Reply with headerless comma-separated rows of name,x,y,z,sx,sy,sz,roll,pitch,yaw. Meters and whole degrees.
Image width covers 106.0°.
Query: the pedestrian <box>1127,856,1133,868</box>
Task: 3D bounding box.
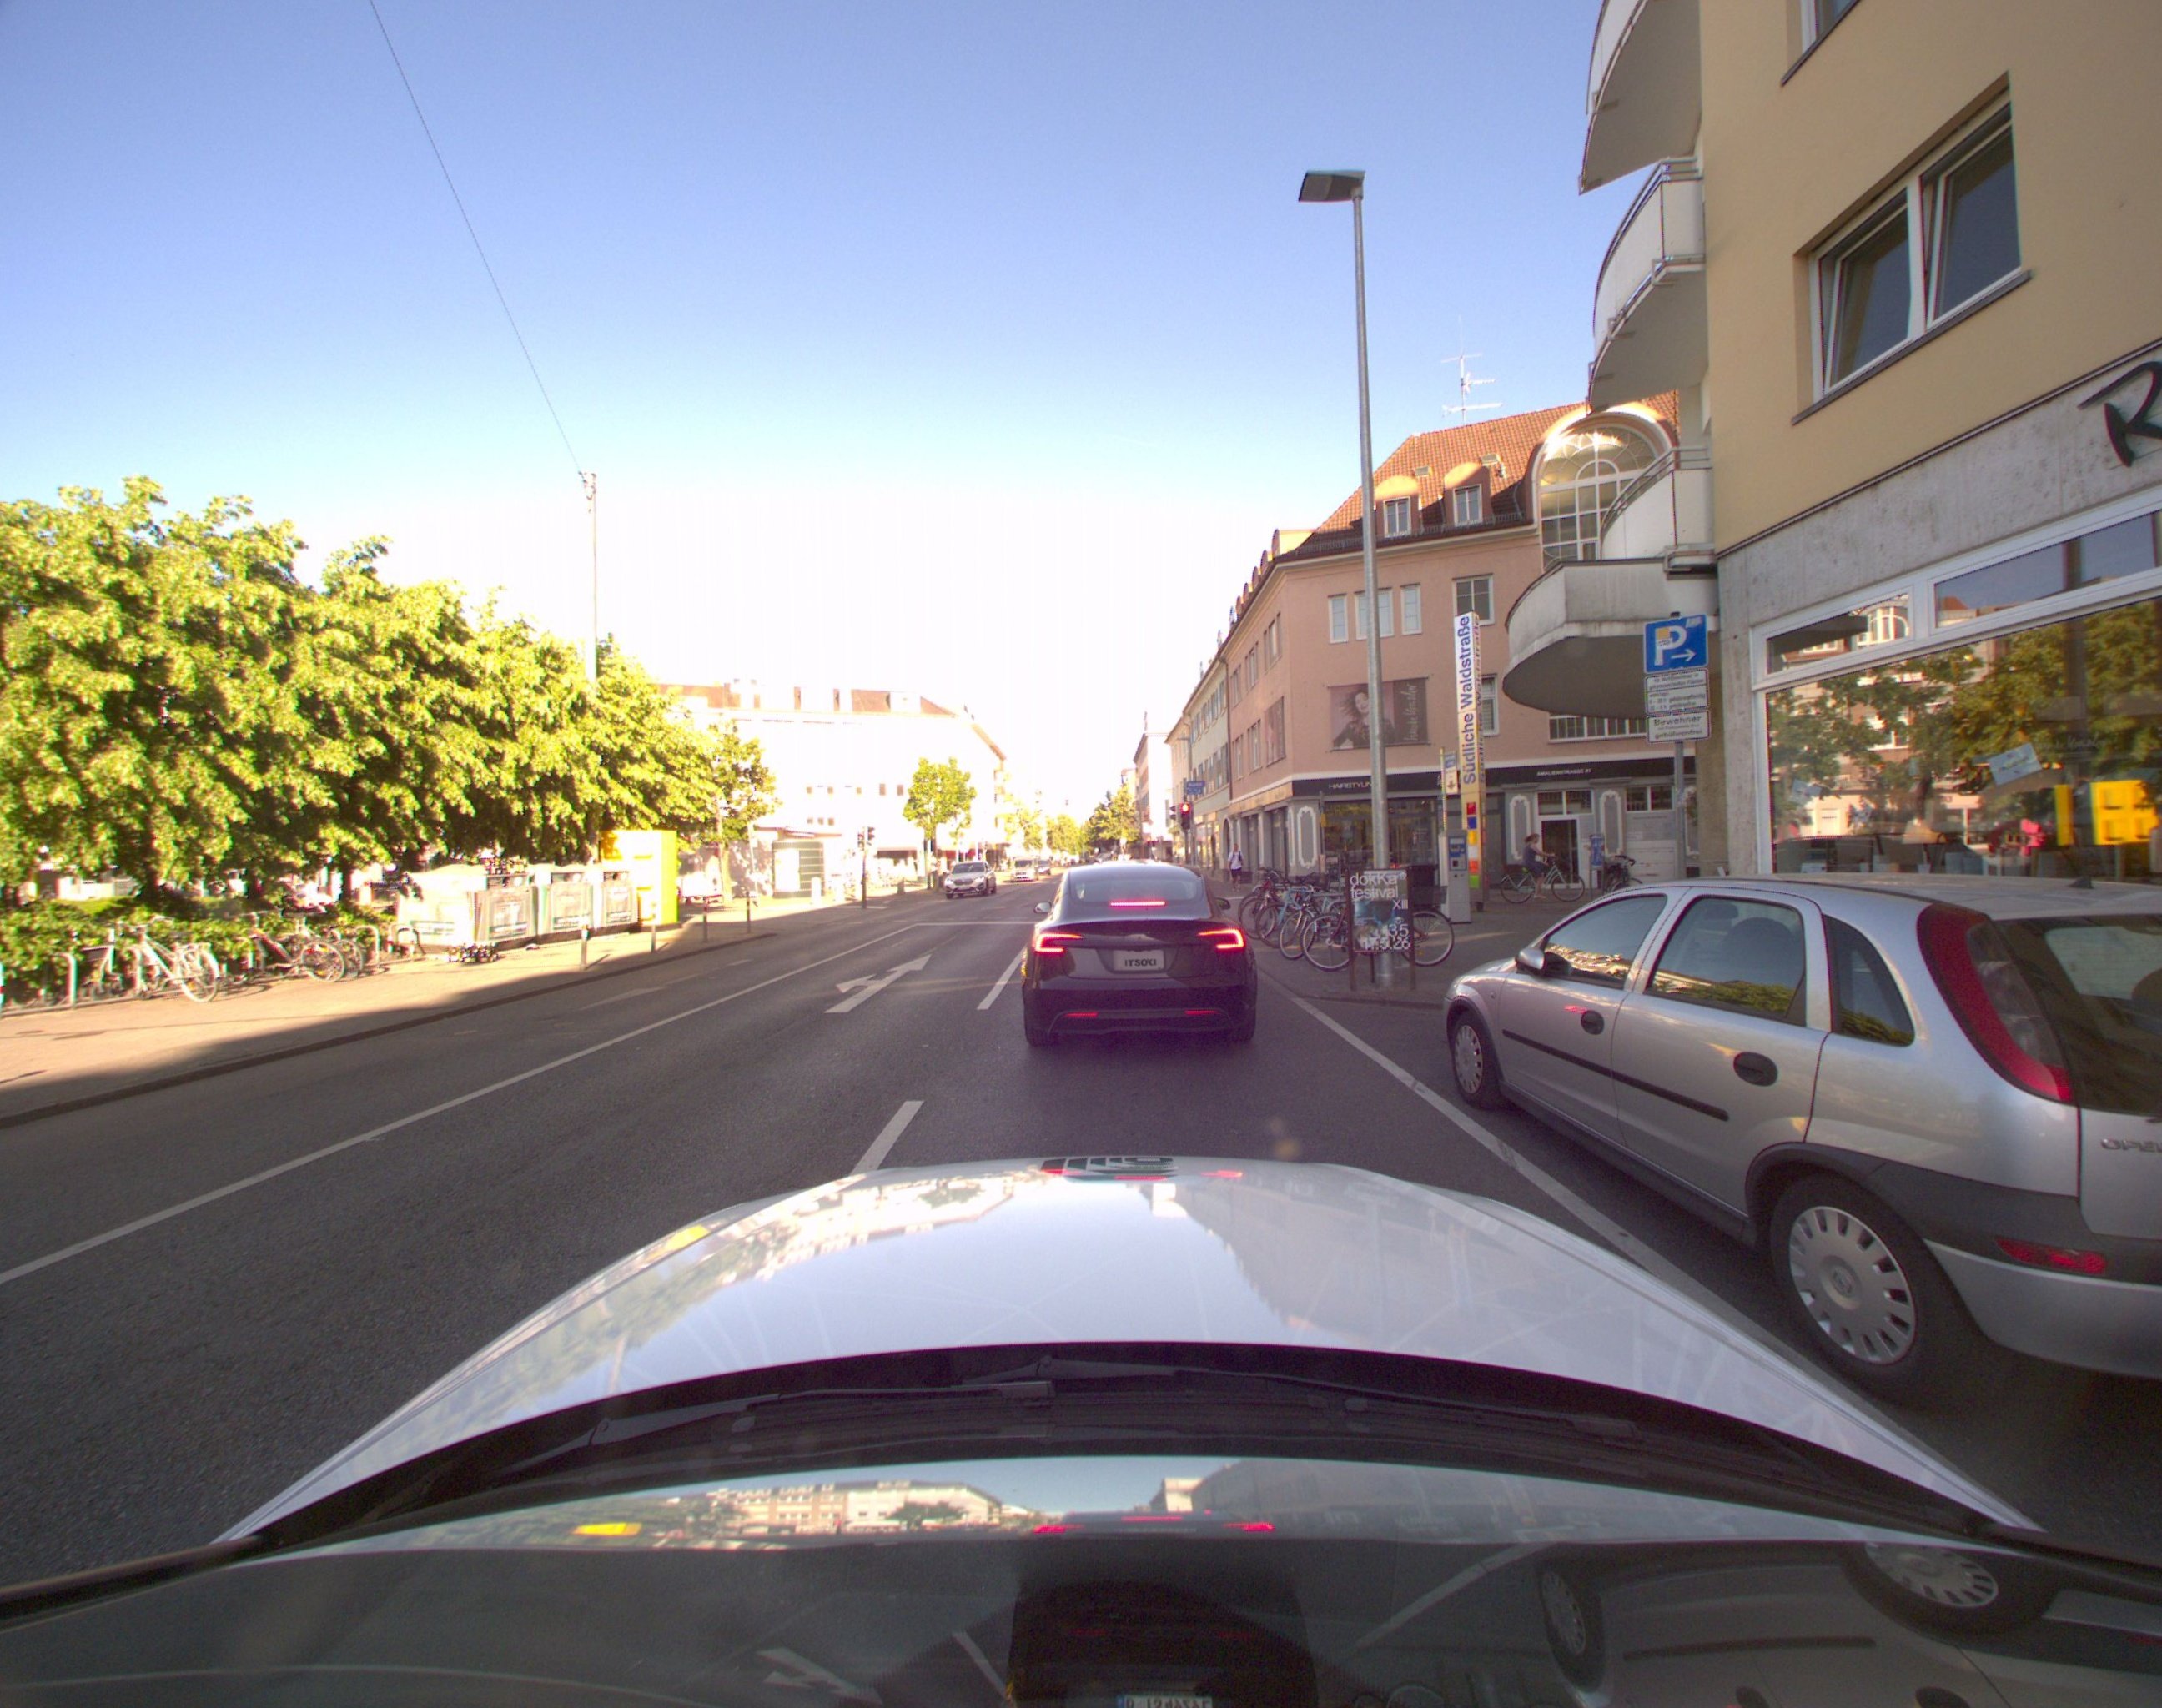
pedestrian,5.758,0.973,95.220,0.524,1.422,0.475,0,-1,-28

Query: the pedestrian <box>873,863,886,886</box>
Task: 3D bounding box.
pedestrian,-17.926,1.821,72.599,1.060,2.014,1.049,0,-1,-18

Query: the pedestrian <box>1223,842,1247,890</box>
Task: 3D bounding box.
pedestrian,5.899,0.450,31.266,0.747,1.765,0.838,-3,-1,6

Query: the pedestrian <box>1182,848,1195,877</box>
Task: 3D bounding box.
pedestrian,6.559,0.536,49.656,0.704,1.742,0.540,-1,0,1

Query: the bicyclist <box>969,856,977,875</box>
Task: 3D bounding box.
bicyclist,-8.794,0.927,66.462,0.525,1.503,0.473,0,-1,-22

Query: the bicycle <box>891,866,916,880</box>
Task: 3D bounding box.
bicycle,-17.092,1.817,78.489,2.373,1.296,0.509,0,-1,-25

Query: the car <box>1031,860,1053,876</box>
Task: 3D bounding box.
car,-3.578,1.282,74.974,1.709,1.446,3.846,0,-1,2

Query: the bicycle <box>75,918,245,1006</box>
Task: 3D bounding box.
bicycle,-11.623,1.340,10.282,1.919,1.015,0.518,-1,-1,12

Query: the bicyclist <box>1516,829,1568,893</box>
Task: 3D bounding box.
bicyclist,10.942,0.178,19.357,0.884,1.482,0.704,-1,-1,14

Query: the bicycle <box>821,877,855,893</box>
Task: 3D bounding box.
bicycle,-12.839,1.632,43.085,1.640,0.792,0.606,0,-1,-3

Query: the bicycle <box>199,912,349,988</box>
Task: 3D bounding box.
bicycle,-11.531,1.353,11.645,1.913,1.003,0.518,-1,-1,11

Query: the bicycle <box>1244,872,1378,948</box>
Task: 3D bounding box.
bicycle,3.489,0.849,12.477,1.864,1.038,0.534,-3,-1,5

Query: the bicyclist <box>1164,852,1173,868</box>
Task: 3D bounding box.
bicyclist,7.658,0.527,71.181,0.670,1.395,0.460,0,-1,-14

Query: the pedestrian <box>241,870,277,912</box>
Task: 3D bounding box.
pedestrian,-33.573,1.498,33.269,0.754,1.698,0.793,-1,0,25

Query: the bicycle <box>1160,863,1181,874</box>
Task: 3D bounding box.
bicycle,7.824,1.264,71.211,1.787,1.007,0.469,0,-1,-15

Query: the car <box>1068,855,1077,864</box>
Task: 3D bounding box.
car,-1.964,1.327,187.505,1.986,2.013,4.001,-1,0,2

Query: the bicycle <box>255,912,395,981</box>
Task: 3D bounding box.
bicycle,-11.322,1.371,12.206,1.888,0.955,0.518,-1,-1,11

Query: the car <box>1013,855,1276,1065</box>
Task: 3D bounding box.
car,0.505,0.760,7.716,1.815,1.442,4.001,-1,-1,2

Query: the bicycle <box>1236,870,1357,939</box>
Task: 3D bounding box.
bicycle,3.589,0.838,13.675,1.863,1.038,0.548,-3,-1,7

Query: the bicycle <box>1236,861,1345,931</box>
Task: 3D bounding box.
bicycle,3.777,0.758,14.793,1.818,1.169,0.507,-3,-1,7

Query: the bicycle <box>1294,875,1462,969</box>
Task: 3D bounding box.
bicycle,3.629,0.836,10.030,1.862,1.038,0.354,-3,-1,8

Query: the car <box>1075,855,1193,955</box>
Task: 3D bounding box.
car,0.794,0.747,13.875,1.712,1.425,3.757,-1,0,0

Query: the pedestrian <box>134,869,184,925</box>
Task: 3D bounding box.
pedestrian,-33.743,1.571,29.812,0.890,2.013,0.893,-1,0,15

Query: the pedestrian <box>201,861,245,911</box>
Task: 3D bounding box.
pedestrian,-34.884,1.291,33.107,0.890,2.013,0.893,-1,0,15

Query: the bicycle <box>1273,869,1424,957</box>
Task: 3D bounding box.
bicycle,3.650,0.804,11.199,1.864,1.087,0.415,-3,-1,5

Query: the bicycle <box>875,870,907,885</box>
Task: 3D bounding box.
bicycle,-12.268,1.527,52.637,1.857,0.934,0.606,-1,0,0

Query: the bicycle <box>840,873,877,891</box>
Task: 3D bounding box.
bicycle,-12.455,1.577,45.657,1.857,0.934,0.606,-1,0,0

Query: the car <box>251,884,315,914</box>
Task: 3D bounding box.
car,-40.133,2.221,40.948,3.526,1.386,1.703,-1,0,36

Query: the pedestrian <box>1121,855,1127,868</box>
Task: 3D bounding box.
pedestrian,5.017,0.886,95.876,0.474,1.417,0.517,0,-1,-29

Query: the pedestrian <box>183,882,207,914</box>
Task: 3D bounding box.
pedestrian,-48.862,2.439,44.897,0.842,1.717,0.761,-2,-1,35

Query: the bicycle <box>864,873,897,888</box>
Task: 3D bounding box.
bicycle,-12.328,1.620,50.184,1.857,0.934,0.606,0,-1,0

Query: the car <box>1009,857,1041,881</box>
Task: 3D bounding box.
car,-4.005,1.055,58.859,1.780,1.646,4.404,-1,0,2

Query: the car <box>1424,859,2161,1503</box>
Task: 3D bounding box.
car,2.931,0.732,3.520,1.540,1.390,3.479,-1,-1,3

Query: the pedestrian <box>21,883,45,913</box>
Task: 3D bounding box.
pedestrian,-77.876,3.293,60.521,0.891,2.171,0.882,-1,-1,26

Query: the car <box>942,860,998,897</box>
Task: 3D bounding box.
car,-4.882,1.046,36.420,1.782,1.460,3.759,-4,-1,2

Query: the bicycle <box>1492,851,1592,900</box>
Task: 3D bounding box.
bicycle,10.924,0.517,19.356,1.920,1.118,0.711,-1,-1,14

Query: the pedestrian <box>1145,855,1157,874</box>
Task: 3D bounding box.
pedestrian,5.978,0.914,69.395,0.756,1.631,0.951,0,-1,-16

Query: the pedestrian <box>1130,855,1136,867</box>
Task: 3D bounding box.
pedestrian,6.110,0.851,95.891,0.524,1.422,0.475,0,-1,-28

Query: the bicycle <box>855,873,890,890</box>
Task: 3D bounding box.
bicycle,-12.203,1.614,47.705,1.857,0.934,0.606,0,-1,0

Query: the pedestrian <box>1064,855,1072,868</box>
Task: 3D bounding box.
pedestrian,-1.778,1.049,109.760,0.719,1.695,0.843,-1,0,-26

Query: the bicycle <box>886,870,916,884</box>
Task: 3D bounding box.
bicycle,-12.188,1.546,55.085,1.857,0.934,0.606,-1,0,0
